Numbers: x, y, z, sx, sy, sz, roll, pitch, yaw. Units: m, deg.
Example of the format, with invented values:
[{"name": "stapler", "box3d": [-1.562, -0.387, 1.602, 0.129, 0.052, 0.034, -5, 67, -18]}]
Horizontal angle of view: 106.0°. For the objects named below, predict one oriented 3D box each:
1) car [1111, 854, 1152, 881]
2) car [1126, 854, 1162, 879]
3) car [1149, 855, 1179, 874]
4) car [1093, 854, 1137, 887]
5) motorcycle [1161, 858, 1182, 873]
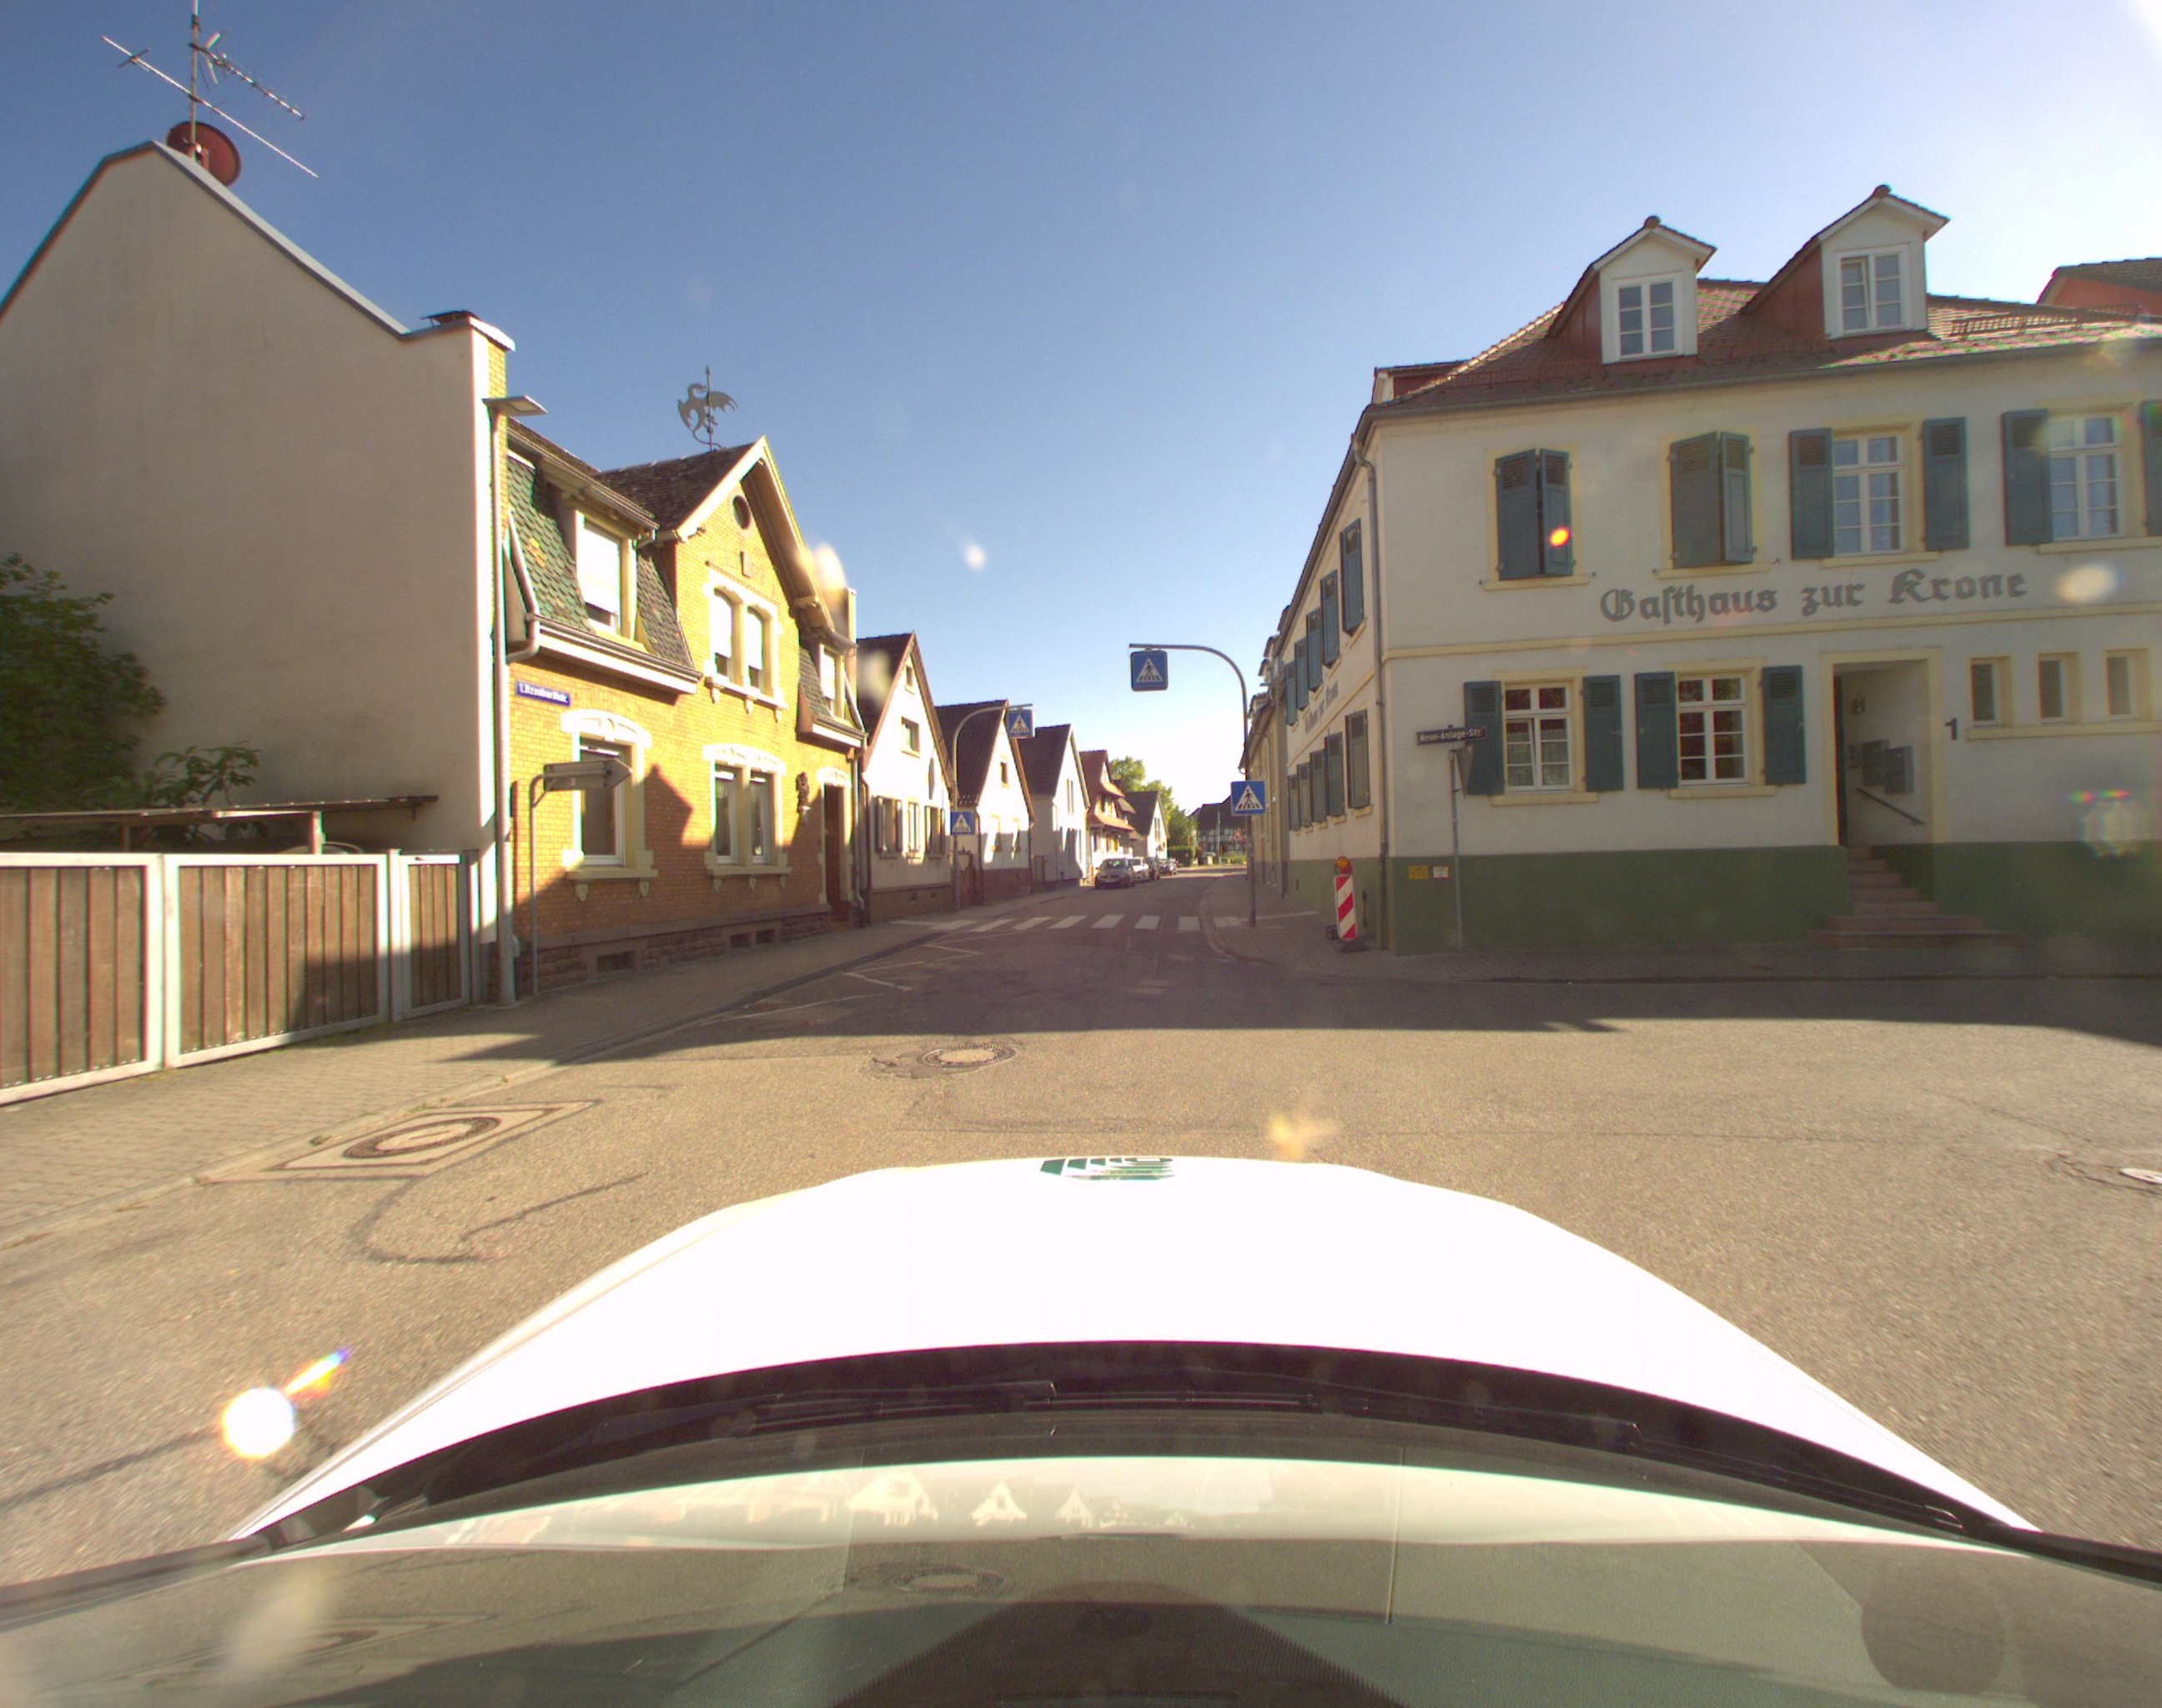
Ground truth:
[{"name": "car", "box3d": [3.128, 0.800, 49.583, 1.804, 1.567, 4.182, -2, -1, 12]}, {"name": "car", "box3d": [4.335, 0.812, 55.200, 1.771, 1.605, 4.376, -2, -1, 12]}, {"name": "car", "box3d": [6.806, 0.835, 66.369, 1.832, 1.406, 5.054, -3, -1, 12]}, {"name": "car", "box3d": [1.813, 0.855, 42.613, 1.732, 1.614, 4.011, -2, -1, 10]}, {"name": "motorcycle", "box3d": [7.783, 0.973, 69.820, 0.629, 1.231, 1.974, -2, 0, -33]}]
